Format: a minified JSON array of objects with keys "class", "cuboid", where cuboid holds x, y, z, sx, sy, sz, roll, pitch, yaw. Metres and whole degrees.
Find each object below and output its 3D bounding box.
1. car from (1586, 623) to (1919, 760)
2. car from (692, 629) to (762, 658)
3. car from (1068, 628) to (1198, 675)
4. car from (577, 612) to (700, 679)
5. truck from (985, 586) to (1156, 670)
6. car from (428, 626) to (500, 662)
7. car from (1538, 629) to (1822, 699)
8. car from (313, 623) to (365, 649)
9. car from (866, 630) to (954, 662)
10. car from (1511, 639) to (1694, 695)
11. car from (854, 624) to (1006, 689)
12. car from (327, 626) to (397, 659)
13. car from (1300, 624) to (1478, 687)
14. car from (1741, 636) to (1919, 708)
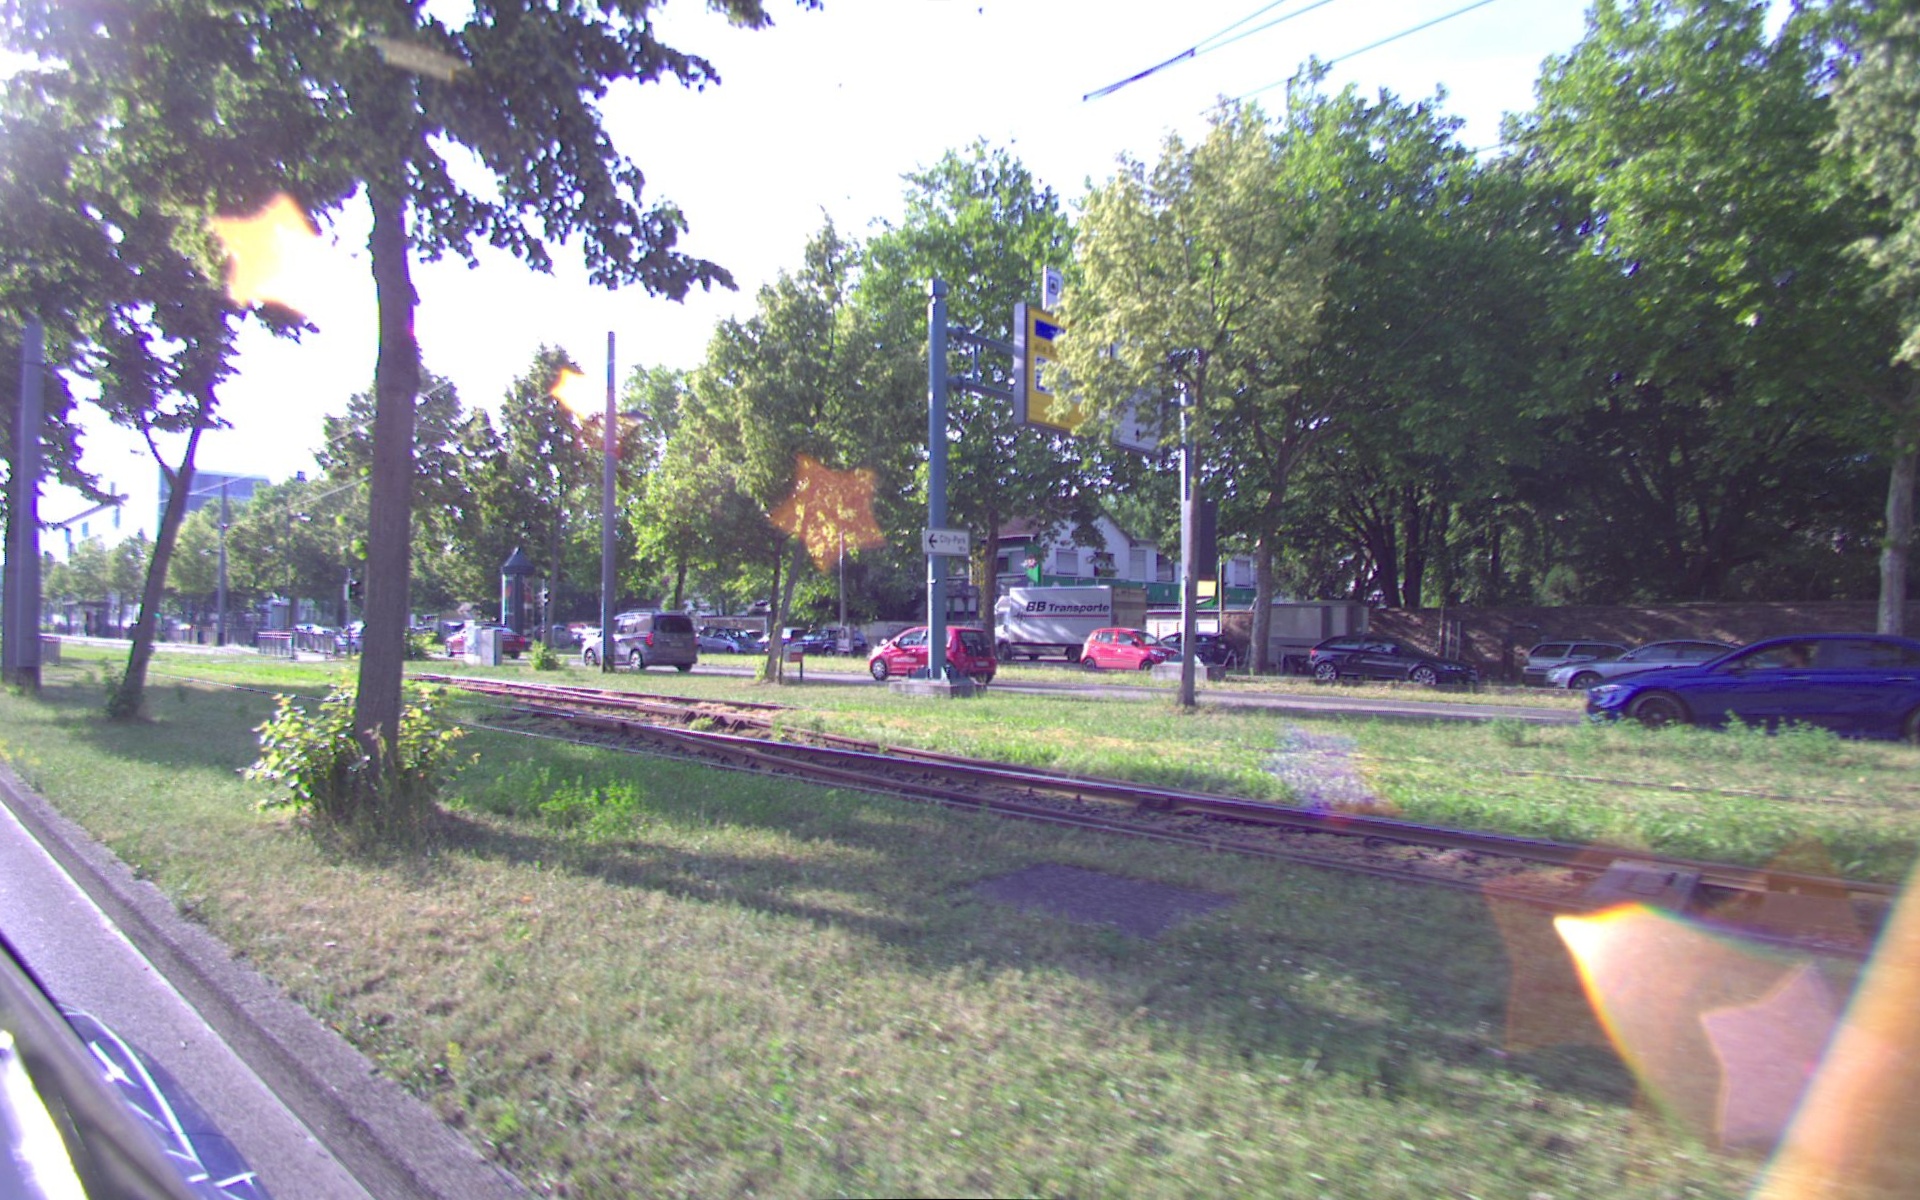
[{"class":"car","cuboid":[10.590,1.057,12.484,4.669,1.446,1.664,-1,0,42]},{"class":"car","cuboid":[-11.511,2.120,49.848,3.782,1.292,1.437,-1,0,41]},{"class":"car","cuboid":[5.436,1.583,32.199,1.563,1.286,3.964,-1,0,-42]},{"class":"car","cuboid":[-9.874,1.317,30.926,4.217,1.878,1.664,-1,0,41]},{"class":"truck","cuboid":[4.975,1.205,47.029,2.855,3.542,7.951,-1,0,-44]},{"class":"car","cuboid":[-22.420,1.951,45.671,3.959,1.459,1.663,-1,0,44]},{"class":"car","cuboid":[15.608,1.329,22.137,4.900,1.253,1.658,-1,0,43]},{"class":"car","cuboid":[-37.281,2.113,60.717,3.959,1.459,1.764,-1,0,44]},{"class":"car","cuboid":[-2.014,1.810,40.130,3.773,1.116,1.284,-1,0,44]},{"class":"car","cuboid":[19.271,1.961,30.493,1.678,1.386,4.388,-1,0,-45]},{"class":"car","cuboid":[-0.843,1.421,26.525,3.928,1.536,1.664,-1,-1,41]},{"class":"car","cuboid":[-27.506,1.916,46.499,3.957,1.382,1.663,-1,0,42]},{"class":"car","cuboid":[11.127,1.393,26.366,3.958,1.442,1.653,-1,0,41]},{"class":"car","cuboid":[23.325,1.836,26.462,4.474,1.624,1.810,-1,0,43]}]
